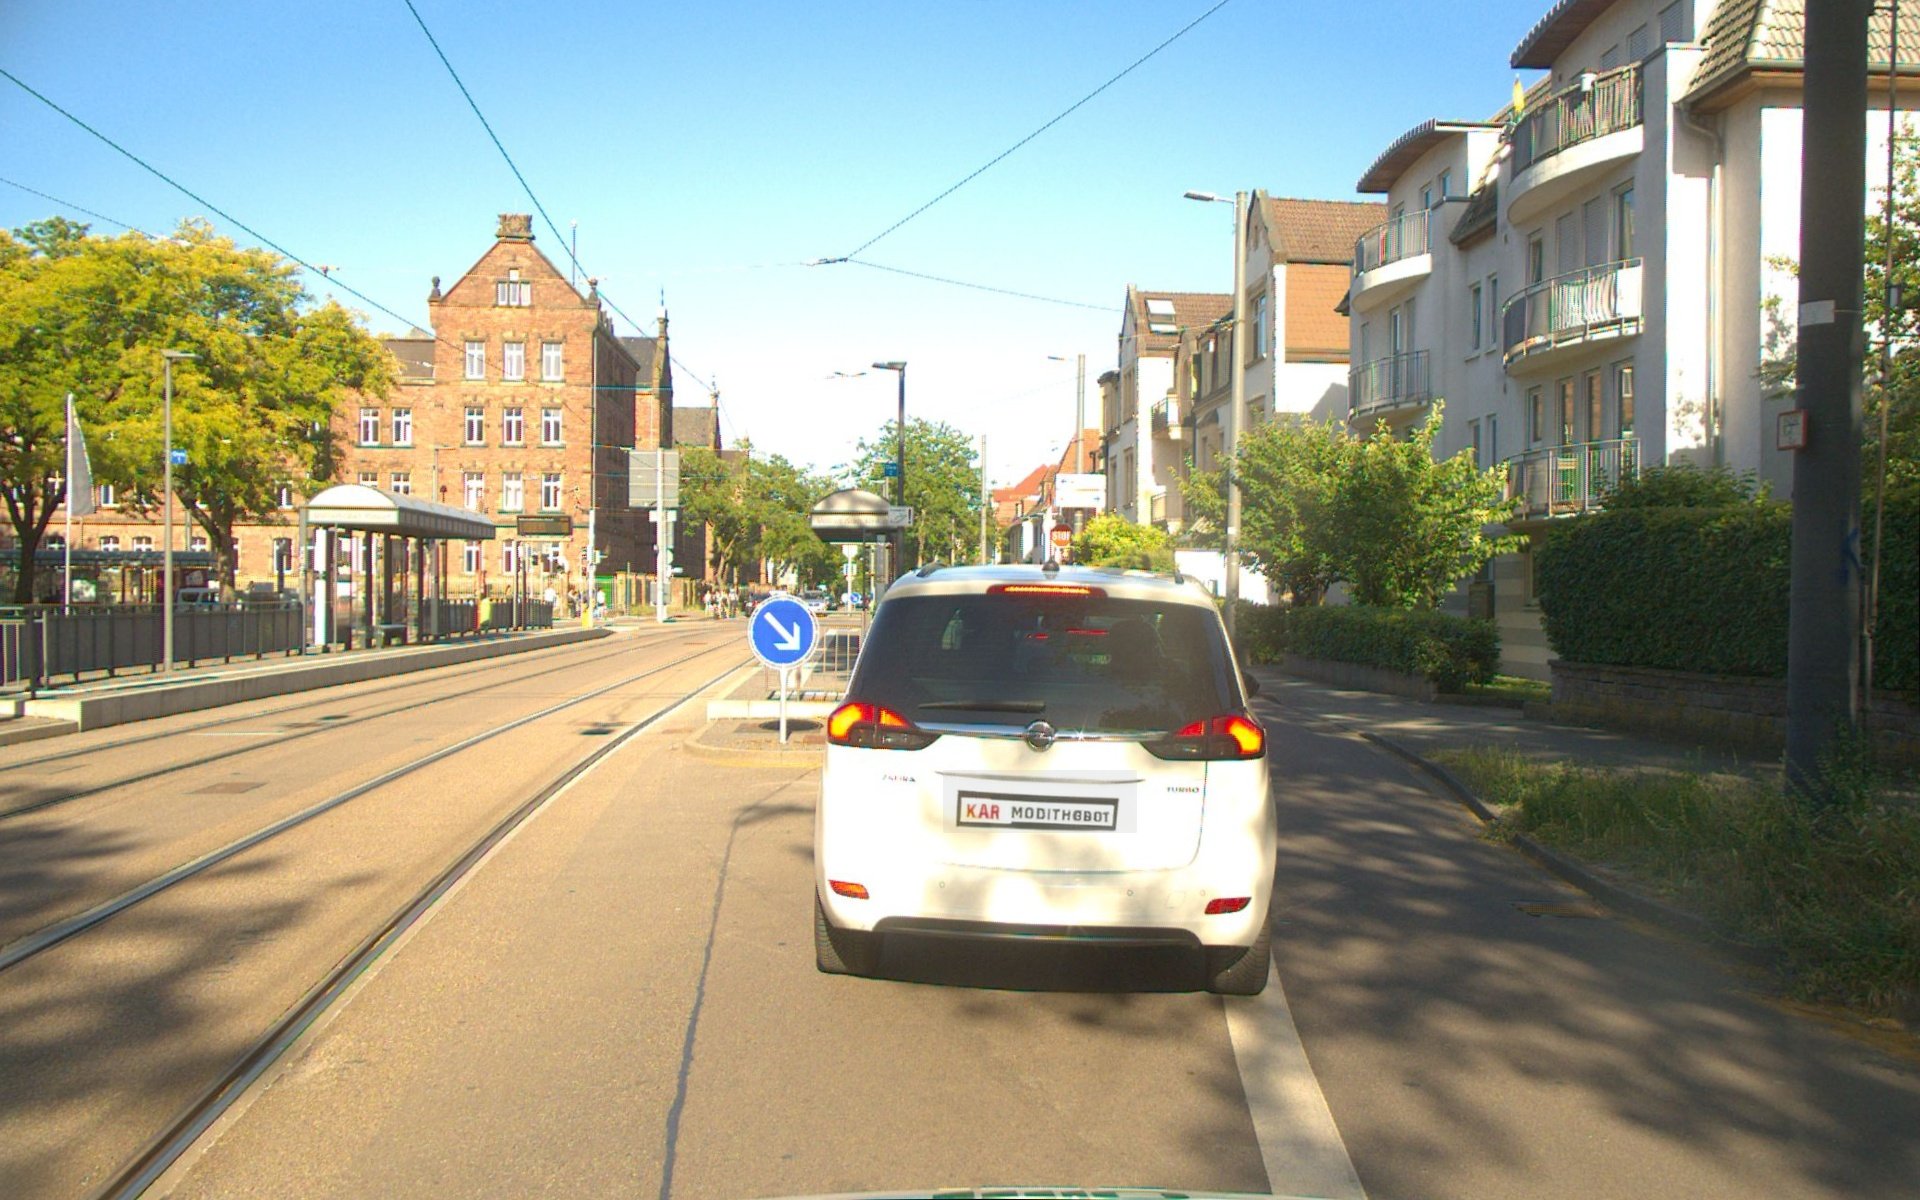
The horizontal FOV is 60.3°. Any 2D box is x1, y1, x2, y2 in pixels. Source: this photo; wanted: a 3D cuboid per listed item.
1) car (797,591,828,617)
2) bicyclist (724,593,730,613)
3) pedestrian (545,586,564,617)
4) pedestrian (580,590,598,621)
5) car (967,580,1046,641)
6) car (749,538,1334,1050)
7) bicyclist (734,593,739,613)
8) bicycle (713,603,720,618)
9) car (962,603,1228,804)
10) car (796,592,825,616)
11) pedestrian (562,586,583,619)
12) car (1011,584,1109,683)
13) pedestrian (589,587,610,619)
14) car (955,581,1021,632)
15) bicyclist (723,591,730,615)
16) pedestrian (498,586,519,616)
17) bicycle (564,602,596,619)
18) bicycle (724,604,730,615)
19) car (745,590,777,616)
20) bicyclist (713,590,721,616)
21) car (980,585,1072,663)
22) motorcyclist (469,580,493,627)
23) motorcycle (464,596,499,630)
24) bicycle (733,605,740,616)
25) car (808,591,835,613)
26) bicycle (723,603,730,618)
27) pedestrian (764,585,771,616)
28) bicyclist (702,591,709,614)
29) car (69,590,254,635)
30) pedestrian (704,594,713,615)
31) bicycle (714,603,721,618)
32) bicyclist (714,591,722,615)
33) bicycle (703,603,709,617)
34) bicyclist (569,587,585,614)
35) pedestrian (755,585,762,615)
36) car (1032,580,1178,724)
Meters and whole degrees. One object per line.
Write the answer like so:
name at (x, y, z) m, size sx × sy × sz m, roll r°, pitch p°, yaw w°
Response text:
car at (-9.537, 0.251, 107.161) m, size 1.955 × 1.657 × 3.996 m, roll 0°, pitch 0°, yaw -5°
bicyclist at (-15.692, 0.189, 111.360) m, size 0.337 × 1.343 × 0.404 m, roll 1°, pitch -1°, yaw -4°
pedestrian at (-21.708, 0.094, 88.487) m, size 0.786 × 1.616 × 0.934 m, roll 1°, pitch 0°, yaw -3°
pedestrian at (-21.316, 0.323, 95.141) m, size 0.719 × 1.744 × 0.706 m, roll 1°, pitch -1°, yaw 22°
car at (1.203, 0.261, 44.313) m, size 1.953 × 1.529 × 3.999 m, roll 0°, pitch 0°, yaw -1°
car at (0.457, 0.649, 7.598) m, size 1.951 × 1.673 × 3.996 m, roll 1°, pitch 0°, yaw 6°
bicyclist at (-15.050, 0.206, 111.425) m, size 0.352 × 1.326 × 0.397 m, roll 0°, pitch 0°, yaw -4°
bicycle at (-15.154, 0.658, 102.841) m, size 0.337 × 0.966 × 1.159 m, roll 1°, pitch 0°, yaw -4°
car at (1.032, 0.750, 13.985) m, size 1.912 × 1.422 × 4.001 m, roll 0°, pitch 0°, yaw 1°
car at (-10.341, 0.268, 114.255) m, size 1.955 × 1.657 × 3.996 m, roll 0°, pitch 0°, yaw -5°
pedestrian at (-20.668, 0.140, 88.232) m, size 0.825 × 1.721 × 1.029 m, roll 1°, pitch 0°, yaw -1°
car at (1.716, 0.553, 29.272) m, size 1.603 × 1.629 × 3.855 m, roll 0°, pitch 0°, yaw 1°
pedestrian at (-19.304, 0.159, 88.666) m, size 0.877 × 1.713 × 1.029 m, roll 1°, pitch 0°, yaw -1°
car at (0.833, 0.195, 51.769) m, size 1.953 × 1.529 × 3.999 m, roll 0°, pitch 0°, yaw -1°
bicyclist at (-15.374, 0.205, 108.913) m, size 0.435 × 1.580 × 0.495 m, roll 0°, pitch 0°, yaw -4°
pedestrian at (-24.060, 0.053, 88.143) m, size 0.921 × 1.616 × 0.797 m, roll 1°, pitch -1°, yaw -28°
bicycle at (-21.422, 0.579, 93.271) m, size 1.637 × 0.969 × 0.529 m, roll 0°, pitch 0°, yaw -3°
bicycle at (-15.690, 0.668, 111.366) m, size 0.337 × 0.737 × 0.996 m, roll 1°, pitch 0°, yaw -4°
car at (-12.848, 0.202, 106.889) m, size 1.955 × 1.657 × 3.996 m, roll 0°, pitch 0°, yaw -5°
bicyclist at (-15.145, 0.182, 103.050) m, size 0.435 × 1.580 × 0.742 m, roll 0°, pitch 0°, yaw -4°
car at (1.382, 0.495, 36.192) m, size 1.793 × 1.607 × 4.009 m, roll 0°, pitch 0°, yaw -1°
motorcyclist at (-17.135, 0.115, 59.166) m, size 0.600 × 1.650 × 0.845 m, roll 0°, pitch 0°, yaw 2°
motorcycle at (-17.135, 0.458, 59.247) m, size 0.599 × 1.219 × 2.076 m, roll 0°, pitch 0°, yaw 2°
bicycle at (-15.052, 0.679, 111.428) m, size 0.337 × 0.737 × 0.996 m, roll 1°, pitch 0°, yaw -4°
car at (-10.930, 0.149, 130.485) m, size 1.953 × 1.657 × 3.998 m, roll 0°, pitch 0°, yaw -3°
bicycle at (-15.384, 0.679, 108.920) m, size 0.337 × 0.966 × 0.996 m, roll 1°, pitch 0°, yaw -4°
pedestrian at (-13.033, 0.024, 112.057) m, size 0.435 × 2.049 × 0.495 m, roll 0°, pitch 0°, yaw -4°
bicyclist at (-17.639, 0.190, 114.825) m, size 0.435 × 1.580 × 0.495 m, roll 0°, pitch 0°, yaw -4°
car at (-35.719, 0.533, 74.194) m, size 6.810 × 1.954 × 2.991 m, roll 0°, pitch 0°, yaw -2°
pedestrian at (-21.227, 0.371, 139.495) m, size 0.720 × 1.744 × 0.753 m, roll 1°, pitch -1°, yaw -6°
bicycle at (-15.602, 0.665, 106.367) m, size 0.337 × 0.966 × 0.996 m, roll 1°, pitch 0°, yaw -4°
bicyclist at (-15.565, 0.190, 106.326) m, size 0.435 × 1.580 × 0.495 m, roll 0°, pitch 0°, yaw -4°
bicycle at (-17.645, 0.666, 114.861) m, size 0.337 × 0.966 × 0.996 m, roll 1°, pitch 0°, yaw -4°
bicyclist at (-21.606, 0.027, 93.255) m, size 0.743 × 1.455 × 0.515 m, roll 1°, pitch -1°, yaw -3°
pedestrian at (-13.637, 0.012, 111.721) m, size 0.435 × 2.049 × 0.495 m, roll 0°, pitch 0°, yaw -4°
car at (1.742, 0.587, 20.844) m, size 1.603 × 1.629 × 3.855 m, roll 0°, pitch 0°, yaw 1°
